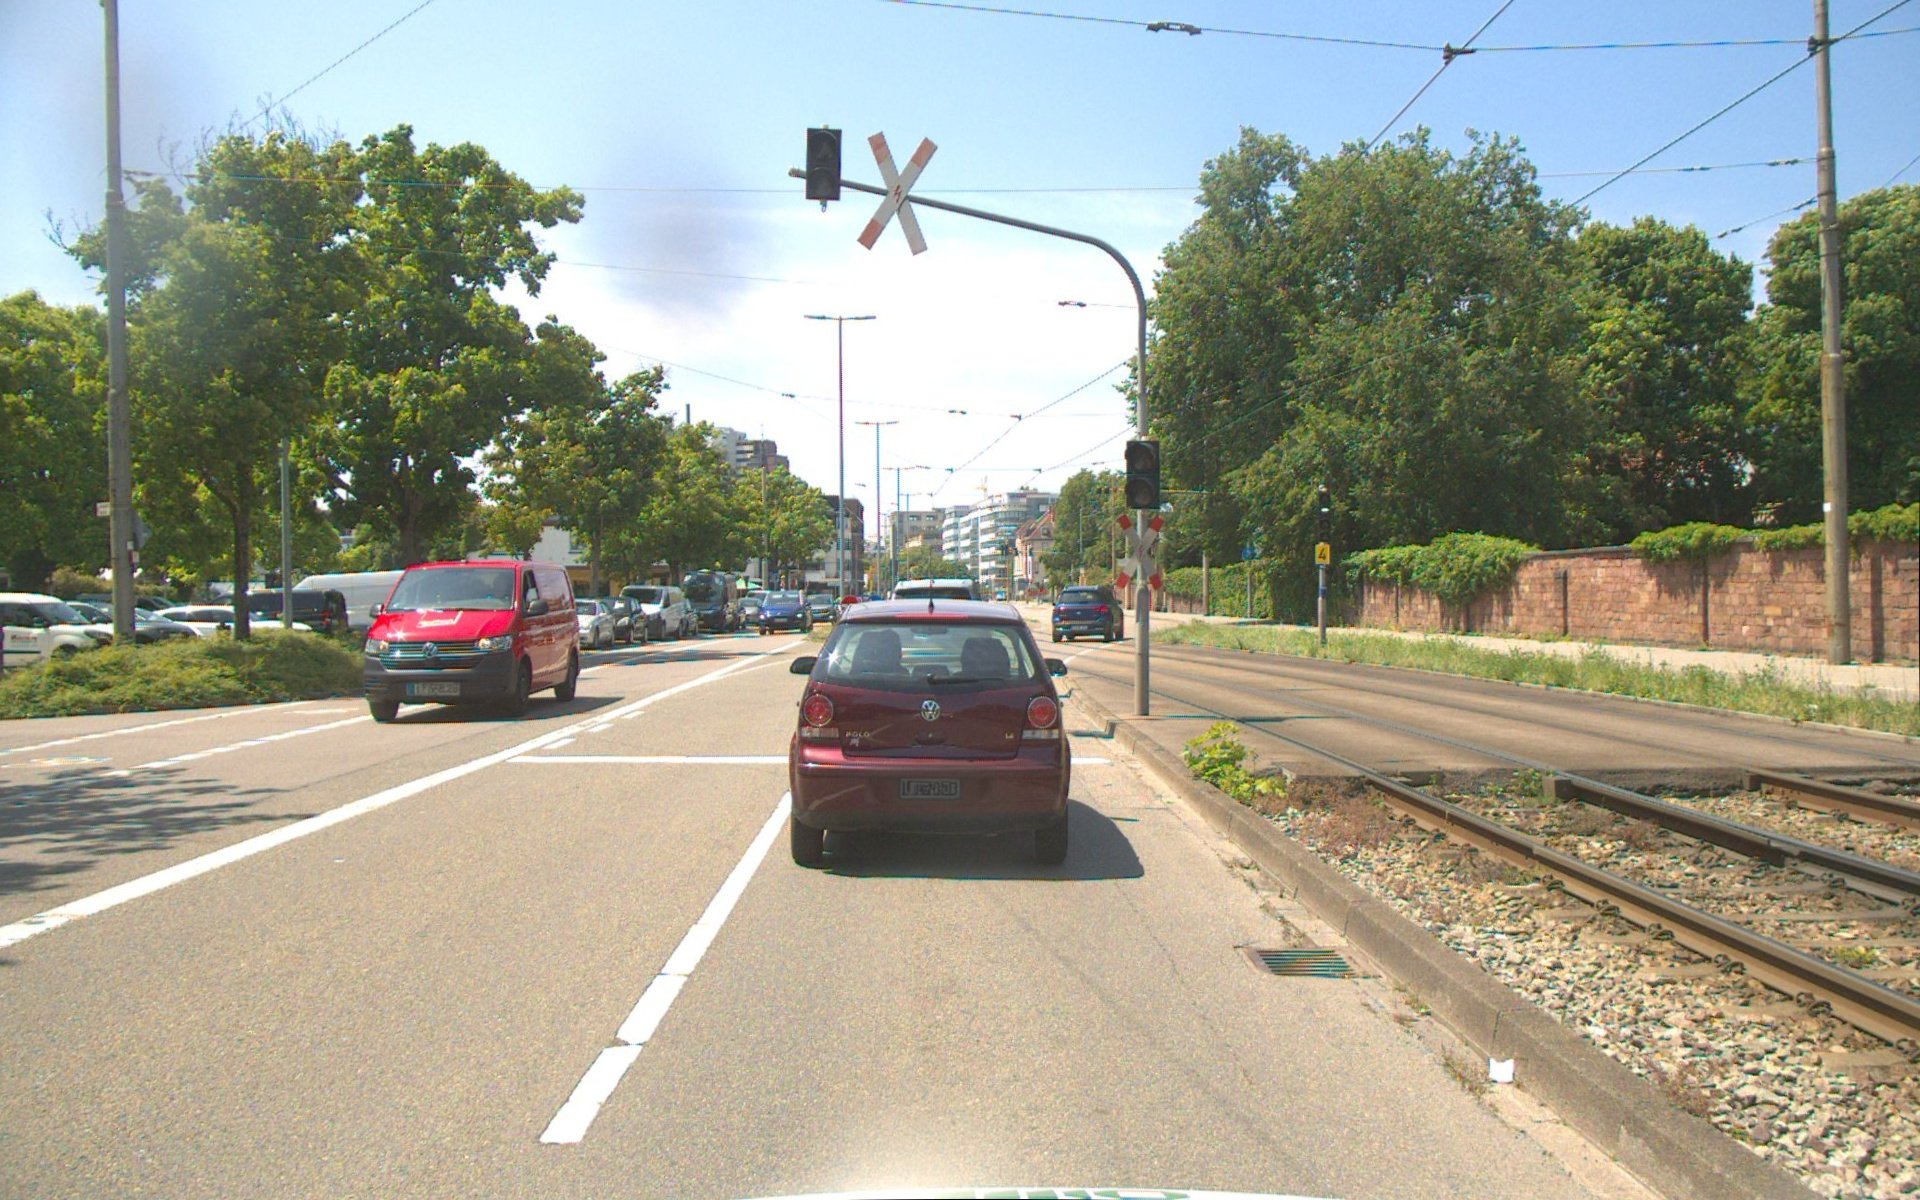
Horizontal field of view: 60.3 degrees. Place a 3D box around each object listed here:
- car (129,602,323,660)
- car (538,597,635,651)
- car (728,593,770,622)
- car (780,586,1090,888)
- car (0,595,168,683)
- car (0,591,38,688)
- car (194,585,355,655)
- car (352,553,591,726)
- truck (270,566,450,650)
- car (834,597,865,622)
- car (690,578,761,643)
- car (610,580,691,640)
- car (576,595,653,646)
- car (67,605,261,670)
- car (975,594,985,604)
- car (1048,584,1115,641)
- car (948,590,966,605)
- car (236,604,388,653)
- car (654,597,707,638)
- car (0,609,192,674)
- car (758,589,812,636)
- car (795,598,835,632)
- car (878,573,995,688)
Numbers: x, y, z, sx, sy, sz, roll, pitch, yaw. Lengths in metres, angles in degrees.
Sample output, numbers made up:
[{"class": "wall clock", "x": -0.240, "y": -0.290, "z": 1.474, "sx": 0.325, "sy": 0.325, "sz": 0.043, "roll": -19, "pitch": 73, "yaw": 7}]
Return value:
[{"class": "car", "x": -21.235, "y": 0.883, "z": 47.999, "sx": 4.666, "sy": 1.514, "sz": 2.057, "roll": -1, "pitch": 0, "yaw": -3}, {"class": "car", "x": -10.978, "y": 0.674, "z": 48.940, "sx": 1.683, "sy": 1.452, "sz": 4.771, "roll": -2, "pitch": 0, "yaw": 1}, {"class": "car", "x": -11.344, "y": 0.390, "z": 89.088, "sx": 1.598, "sy": 1.444, "sz": 3.867, "roll": 1, "pitch": 0, "yaw": 1}, {"class": "car", "x": -0.132, "y": 0.711, "z": 10.621, "sx": 1.577, "sy": 1.524, "sz": 4.000, "roll": -2, "pitch": 0, "yaw": 0}, {"class": "car", "x": -20.335, "y": 0.861, "z": 37.208, "sx": 4.178, "sy": 1.867, "sz": 1.673, "roll": -1, "pitch": 0, "yaw": 1}, {"class": "car", "x": -20.897, "y": 0.806, "z": 32.478, "sx": 4.361, "sy": 1.889, "sz": 2.059, "roll": -1, "pitch": 0, "yaw": -5}, {"class": "car", "x": -21.027, "y": 0.606, "z": 50.829, "sx": 4.125, "sy": 2.030, "sz": 1.856, "roll": -1, "pitch": 0, "yaw": -3}, {"class": "car", "x": -6.258, "y": 0.449, "z": 21.793, "sx": 1.861, "sy": 1.959, "sz": 4.817, "roll": -2, "pitch": 0, "yaw": -3}, {"class": "truck", "x": -21.282, "y": 0.272, "z": 58.844, "sx": 5.464, "sy": 2.808, "sz": 2.432, "roll": -1, "pitch": 0, "yaw": 0}, {"class": "car", "x": -6.626, "y": 0.559, "z": 99.688, "sx": 1.615, "sy": 1.400, "sz": 3.810, "roll": -3, "pitch": 0, "yaw": -1}, {"class": "car", "x": -10.598, "y": 0.439, "z": 75.320, "sx": 2.350, "sy": 2.703, "sz": 6.172, "roll": 3, "pitch": 0, "yaw": -1}, {"class": "car", "x": -11.047, "y": 0.338, "z": 59.378, "sx": 1.824, "sy": 1.971, "sz": 4.806, "roll": 3, "pitch": 0, "yaw": 1}, {"class": "car", "x": -11.186, "y": 0.645, "z": 53.828, "sx": 1.581, "sy": 1.510, "sz": 3.785, "roll": 3, "pitch": 0, "yaw": 1}, {"class": "car", "x": -20.484, "y": 0.953, "z": 42.688, "sx": 4.037, "sy": 1.535, "sz": 1.932, "roll": -1, "pitch": 0, "yaw": 1}, {"class": "car", "x": 2.618, "y": -0.137, "z": 216.991, "sx": 1.326, "sy": 1.274, "sz": 2.972, "roll": 0, "pitch": 0, "yaw": -1}, {"class": "car", "x": 3.739, "y": 0.346, "z": 50.513, "sx": 1.736, "sy": 1.659, "sz": 4.003, "roll": 0, "pitch": 0, "yaw": 9}, {"class": "car", "x": -0.409, "y": -0.401, "z": 220.867, "sx": 1.881, "sy": 1.944, "sz": 4.565, "roll": -1, "pitch": 0, "yaw": -6}, {"class": "car", "x": -20.843, "y": 0.906, "z": 53.319, "sx": 4.125, "sy": 1.436, "sz": 1.856, "roll": -1, "pitch": 0, "yaw": -3}, {"class": "car", "x": -10.874, "y": 0.671, "z": 64.493, "sx": 1.376, "sy": 1.465, "sz": 3.839, "roll": 3, "pitch": 0, "yaw": -1}, {"class": "car", "x": -21.152, "y": 0.992, "z": 40.051, "sx": 4.114, "sy": 1.428, "sz": 2.079, "roll": -1, "pitch": 0, "yaw": -5}, {"class": "car", "x": -6.744, "y": 0.462, "z": 64.007, "sx": 1.702, "sy": 1.685, "sz": 4.065, "roll": -2, "pitch": 0, "yaw": -1}, {"class": "car", "x": -7.197, "y": 0.730, "z": 82.272, "sx": 1.702, "sy": 1.603, "sz": 3.712, "roll": -2, "pitch": 0, "yaw": -1}, {"class": "car", "x": -0.374, "y": 0.452, "z": 26.854, "sx": 1.758, "sy": 1.712, "sz": 3.999, "roll": 0, "pitch": 0, "yaw": -1}]
